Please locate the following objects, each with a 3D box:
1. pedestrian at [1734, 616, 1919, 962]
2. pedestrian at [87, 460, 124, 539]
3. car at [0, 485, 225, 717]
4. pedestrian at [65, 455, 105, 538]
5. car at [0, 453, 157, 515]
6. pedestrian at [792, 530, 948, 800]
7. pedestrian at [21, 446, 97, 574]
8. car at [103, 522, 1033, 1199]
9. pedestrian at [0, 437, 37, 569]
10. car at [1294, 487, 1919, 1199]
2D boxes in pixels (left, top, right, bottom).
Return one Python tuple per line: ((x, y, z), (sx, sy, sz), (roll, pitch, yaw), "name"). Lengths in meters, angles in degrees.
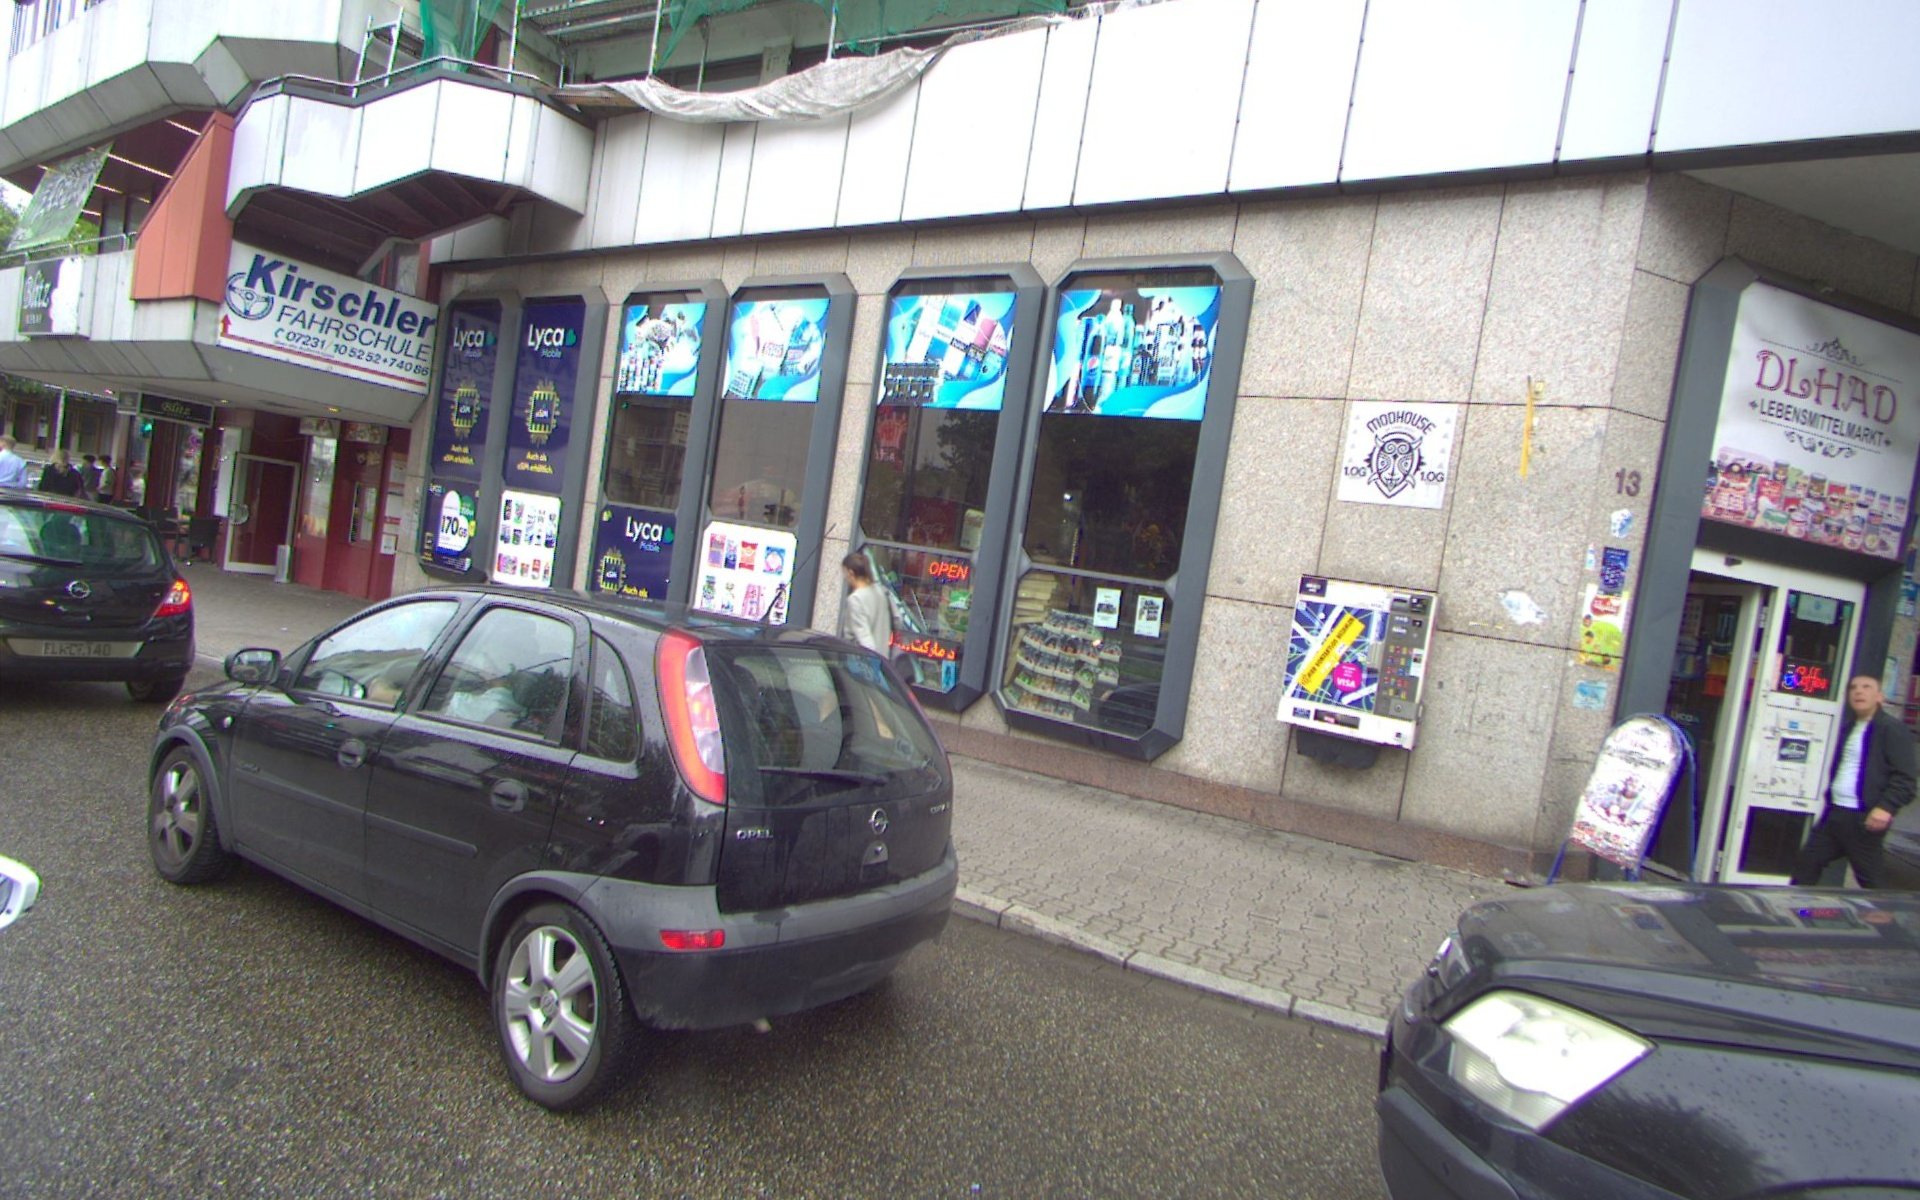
((5.258, 1.061, 6.006), (0.760, 1.839, 0.742), (7, 2, 32), "pedestrian")
((-18.639, -2.194, 21.952), (0.496, 1.660, 0.396), (6, 1, 32), "pedestrian")
((-7.519, -0.167, 7.601), (3.776, 1.446, 1.620), (8, -1, 29), "car")
((-18.615, -2.198, 21.401), (0.443, 1.704, 0.426), (6, 1, 30), "pedestrian")
((-28.149, -3.640, 31.962), (1.808, 1.226, 3.690), (5, -3, 36), "car")
((-0.661, 0.448, 7.451), (0.760, 1.841, 0.741), (6, 4, 30), "pedestrian")
((-14.462, -1.431, 16.152), (0.629, 1.961, 0.736), (6, 4, 31), "pedestrian")
((-1.728, 0.652, 4.082), (3.563, 1.446, 1.609), (8, -1, 33), "car")
((-14.878, -1.509, 15.437), (0.629, 1.957, 0.737), (6, -1, 31), "pedestrian")
((2.805, 1.004, 1.433), (4.094, 1.786, 1.763), (8, -1, 32), "car")
